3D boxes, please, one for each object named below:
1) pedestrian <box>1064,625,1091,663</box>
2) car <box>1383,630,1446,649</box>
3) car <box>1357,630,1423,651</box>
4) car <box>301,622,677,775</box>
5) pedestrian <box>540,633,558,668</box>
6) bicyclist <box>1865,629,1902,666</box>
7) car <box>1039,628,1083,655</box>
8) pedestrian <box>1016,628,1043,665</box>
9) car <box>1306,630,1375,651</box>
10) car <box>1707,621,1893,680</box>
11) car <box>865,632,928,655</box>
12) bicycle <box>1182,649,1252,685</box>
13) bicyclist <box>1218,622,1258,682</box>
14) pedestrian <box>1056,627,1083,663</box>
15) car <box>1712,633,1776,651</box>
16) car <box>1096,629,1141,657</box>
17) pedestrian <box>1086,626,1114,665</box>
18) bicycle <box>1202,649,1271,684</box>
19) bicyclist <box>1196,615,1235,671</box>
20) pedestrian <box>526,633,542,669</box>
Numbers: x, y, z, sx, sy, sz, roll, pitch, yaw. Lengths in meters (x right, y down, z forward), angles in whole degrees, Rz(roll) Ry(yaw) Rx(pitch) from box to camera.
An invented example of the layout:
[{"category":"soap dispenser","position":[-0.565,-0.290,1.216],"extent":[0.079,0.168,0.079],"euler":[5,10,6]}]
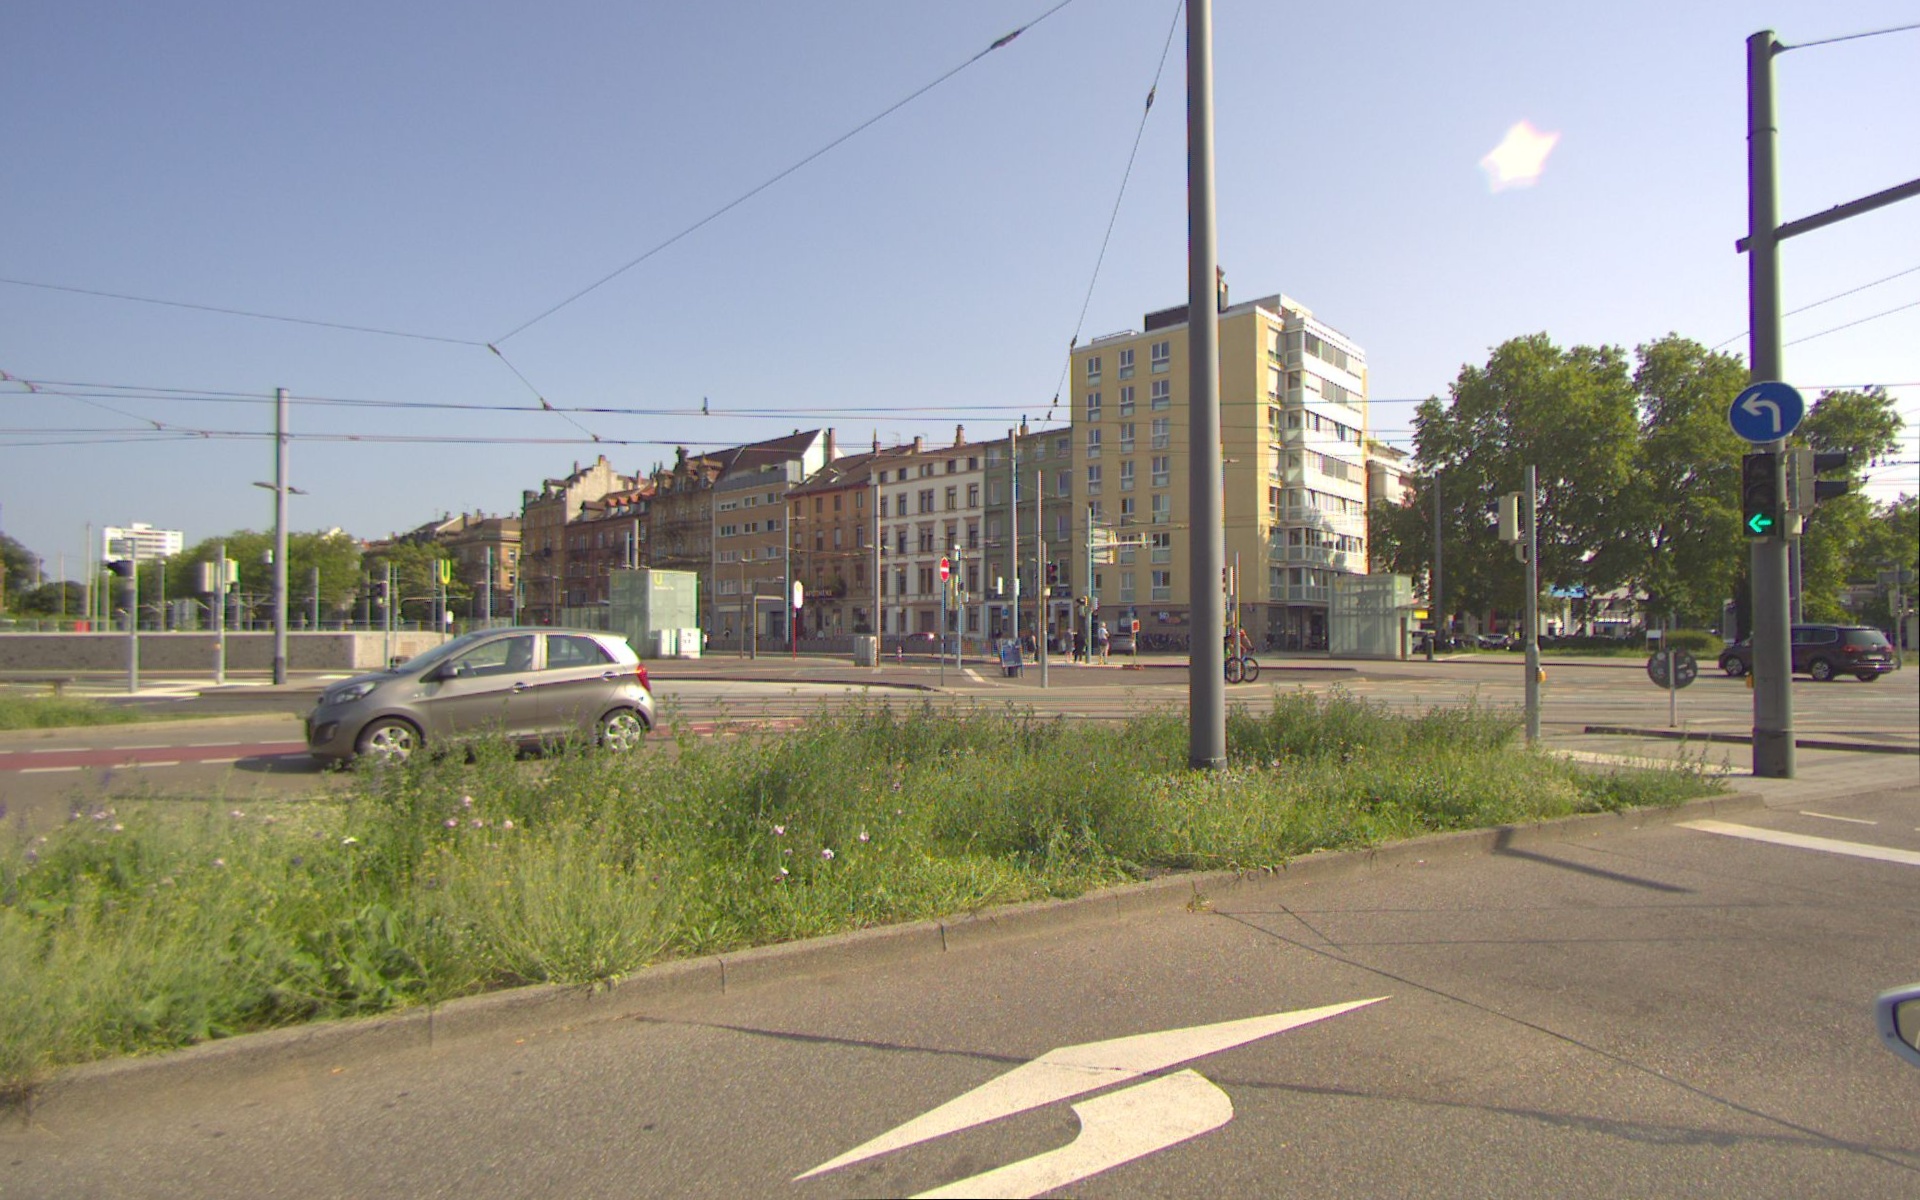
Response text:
[{"category":"pedestrian","position":[5.422,2.019,46.378],"extent":[0.911,1.712,0.918],"euler":[-1,-1,41]},{"category":"car","position":[34.771,3.027,76.913],"extent":[4.108,1.372,1.570],"euler":[-1,-2,41]},{"category":"car","position":[30.502,2.854,71.296],"extent":[4.108,1.372,1.570],"euler":[-1,-2,41]},{"category":"car","position":[-5.350,1.009,11.551],"extent":[3.640,1.471,1.876],"euler":[1,-2,-36]},{"category":"pedestrian","position":[-21.937,2.681,53.586],"extent":[0.745,1.806,0.700],"euler":[1,-2,-35]},{"category":"bicyclist","position":[39.877,2.028,43.382],"extent":[0.955,1.547,1.151],"euler":[2,-2,-45]},{"category":"car","position":[6.704,2.754,67.159],"extent":[1.963,1.701,4.546],"euler":[1,-1,-6]},{"category":"pedestrian","position":[3.283,2.197,47.496],"extent":[0.911,1.712,0.918],"euler":[-1,-1,41]},{"category":"car","position":[25.491,2.700,67.304],"extent":[4.108,1.372,1.474],"euler":[-1,-2,41]},{"category":"car","position":[26.508,1.571,31.932],"extent":[1.798,1.736,4.405],"euler":[0,-2,-10]},{"category":"car","position":[-4.362,2.942,68.482],"extent":[4.348,1.555,1.822],"euler":[-2,-2,41]},{"category":"bicycle","position":[7.133,1.846,27.926],"extent":[0.721,0.944,1.796],"euler":[1,-2,-42]},{"category":"bicyclist","position":[7.983,1.473,28.842],"extent":[0.721,1.674,0.873],"euler":[1,-2,-42]},{"category":"pedestrian","position":[5.205,2.129,47.746],"extent":[0.911,1.712,0.918],"euler":[-1,-1,41]},{"category":"car","position":[69.613,3.744,89.211],"extent":[4.425,1.543,1.705],"euler":[0,-1,0]},{"category":"car","position":[10.001,2.703,63.556],"extent":[1.961,1.701,4.549],"euler":[0,-1,-2]},{"category":"pedestrian","position":[6.310,2.042,45.165],"extent":[0.911,1.712,0.918],"euler":[-1,-1,41]},{"category":"bicycle","position":[7.938,1.888,28.881],"extent":[0.721,0.944,1.796],"euler":[1,-2,-42]},{"category":"bicyclist","position":[7.122,1.187,27.954],"extent":[0.721,1.547,0.787],"euler":[1,-2,-42]},{"category":"pedestrian","position":[-22.483,2.701,53.047],"extent":[0.646,1.891,0.715],"euler":[1,-2,-35]}]
